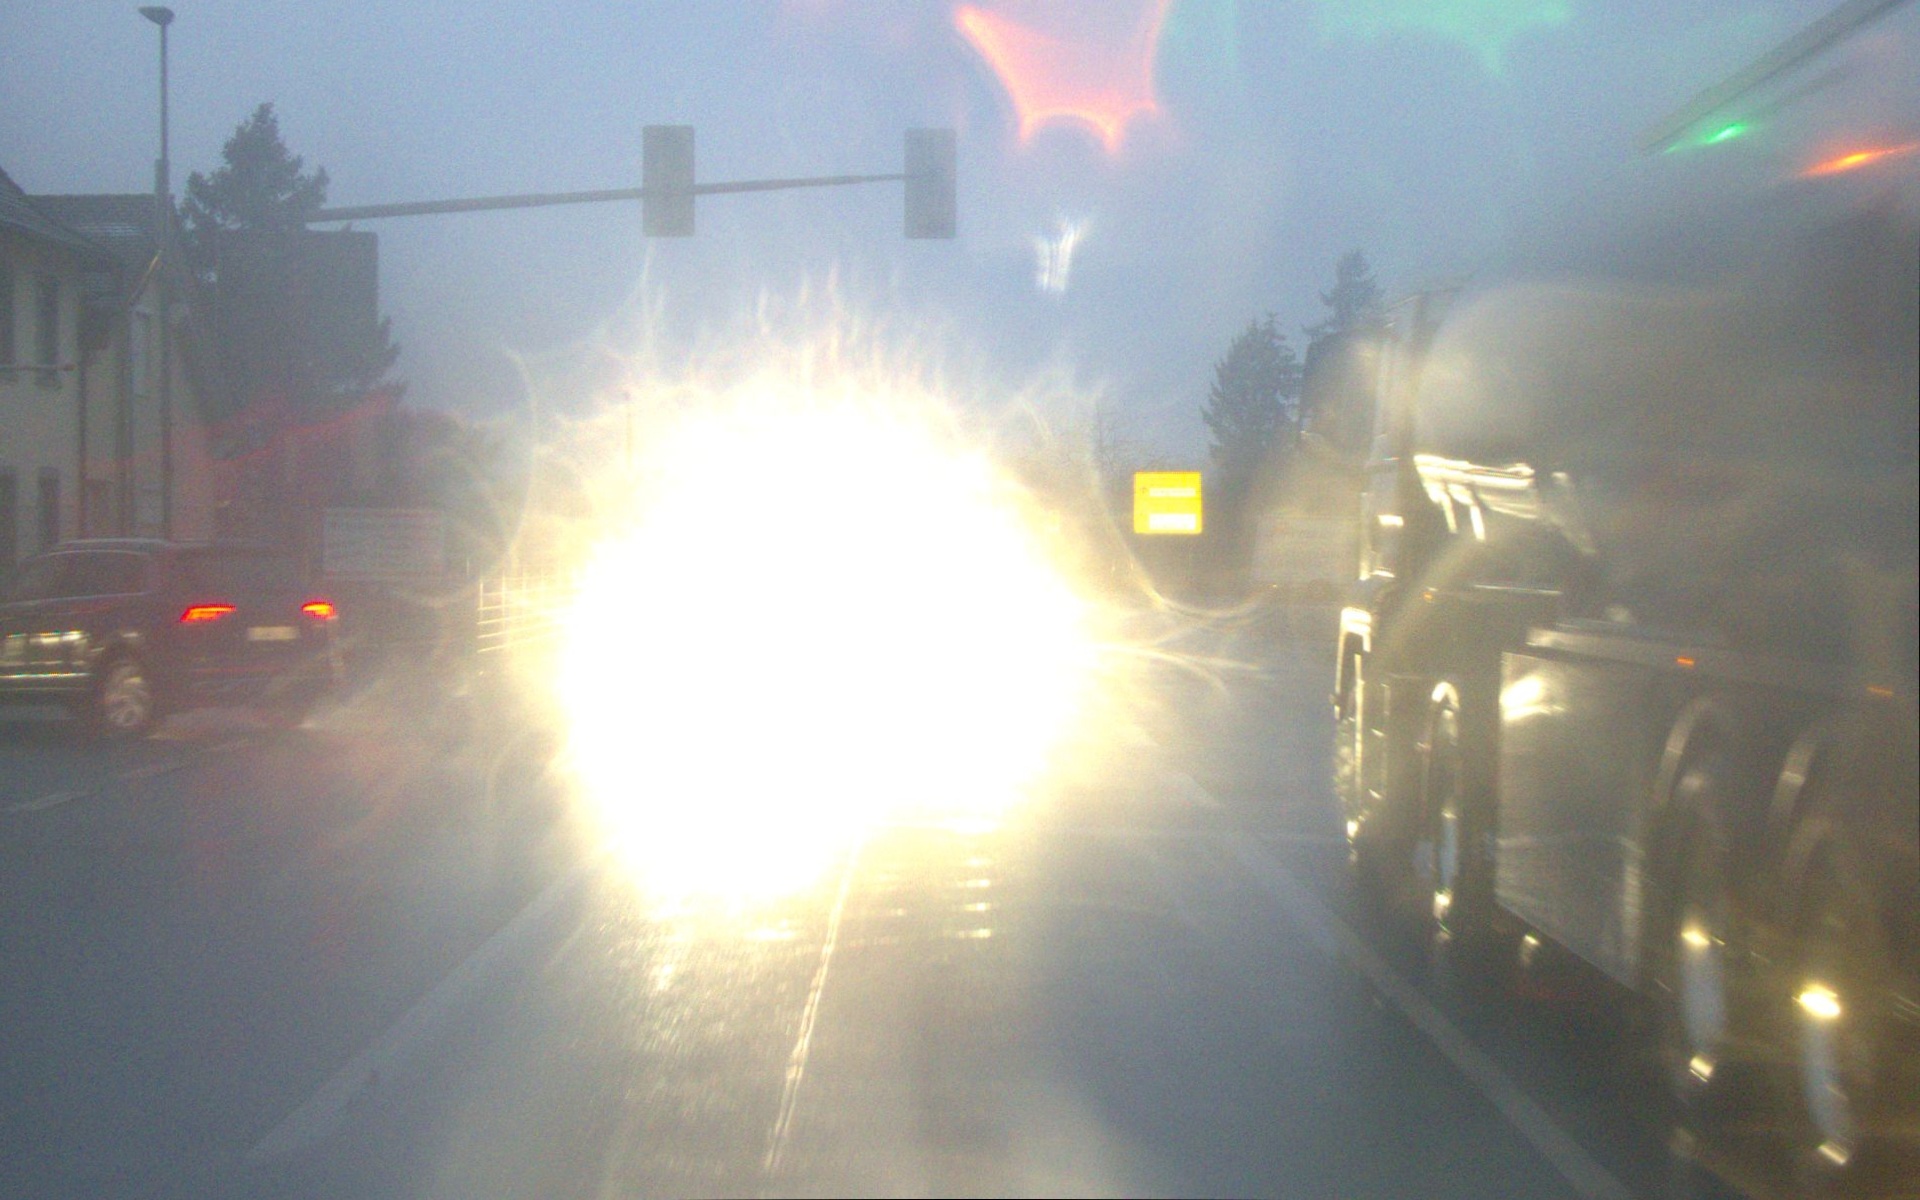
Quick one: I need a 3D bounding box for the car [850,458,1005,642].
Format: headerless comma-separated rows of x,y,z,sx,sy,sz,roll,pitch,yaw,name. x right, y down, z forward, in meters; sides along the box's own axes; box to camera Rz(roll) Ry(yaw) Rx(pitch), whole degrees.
-0.576,-0.854,58.417,2.401,2.882,6.251,2,1,-1,car

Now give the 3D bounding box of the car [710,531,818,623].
-3.800,-0.436,67.293,1.721,1.717,3.928,-1,0,2,car

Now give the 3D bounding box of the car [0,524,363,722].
-7.453,0.166,29.831,4.699,1.567,2.049,0,1,43,car

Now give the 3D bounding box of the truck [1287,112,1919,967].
3.105,-0.275,16.177,2.461,3.218,6.273,1,1,0,truck

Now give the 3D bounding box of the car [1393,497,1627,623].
13.308,-0.971,83.341,5.251,2.860,1.777,-2,1,-7,car

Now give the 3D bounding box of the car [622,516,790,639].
-3.754,-0.365,51.523,1.994,1.740,4.000,-1,1,3,car

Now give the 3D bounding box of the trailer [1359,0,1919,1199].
3.106,-0.194,10.446,2.488,3.229,10.869,1,1,0,trailer
